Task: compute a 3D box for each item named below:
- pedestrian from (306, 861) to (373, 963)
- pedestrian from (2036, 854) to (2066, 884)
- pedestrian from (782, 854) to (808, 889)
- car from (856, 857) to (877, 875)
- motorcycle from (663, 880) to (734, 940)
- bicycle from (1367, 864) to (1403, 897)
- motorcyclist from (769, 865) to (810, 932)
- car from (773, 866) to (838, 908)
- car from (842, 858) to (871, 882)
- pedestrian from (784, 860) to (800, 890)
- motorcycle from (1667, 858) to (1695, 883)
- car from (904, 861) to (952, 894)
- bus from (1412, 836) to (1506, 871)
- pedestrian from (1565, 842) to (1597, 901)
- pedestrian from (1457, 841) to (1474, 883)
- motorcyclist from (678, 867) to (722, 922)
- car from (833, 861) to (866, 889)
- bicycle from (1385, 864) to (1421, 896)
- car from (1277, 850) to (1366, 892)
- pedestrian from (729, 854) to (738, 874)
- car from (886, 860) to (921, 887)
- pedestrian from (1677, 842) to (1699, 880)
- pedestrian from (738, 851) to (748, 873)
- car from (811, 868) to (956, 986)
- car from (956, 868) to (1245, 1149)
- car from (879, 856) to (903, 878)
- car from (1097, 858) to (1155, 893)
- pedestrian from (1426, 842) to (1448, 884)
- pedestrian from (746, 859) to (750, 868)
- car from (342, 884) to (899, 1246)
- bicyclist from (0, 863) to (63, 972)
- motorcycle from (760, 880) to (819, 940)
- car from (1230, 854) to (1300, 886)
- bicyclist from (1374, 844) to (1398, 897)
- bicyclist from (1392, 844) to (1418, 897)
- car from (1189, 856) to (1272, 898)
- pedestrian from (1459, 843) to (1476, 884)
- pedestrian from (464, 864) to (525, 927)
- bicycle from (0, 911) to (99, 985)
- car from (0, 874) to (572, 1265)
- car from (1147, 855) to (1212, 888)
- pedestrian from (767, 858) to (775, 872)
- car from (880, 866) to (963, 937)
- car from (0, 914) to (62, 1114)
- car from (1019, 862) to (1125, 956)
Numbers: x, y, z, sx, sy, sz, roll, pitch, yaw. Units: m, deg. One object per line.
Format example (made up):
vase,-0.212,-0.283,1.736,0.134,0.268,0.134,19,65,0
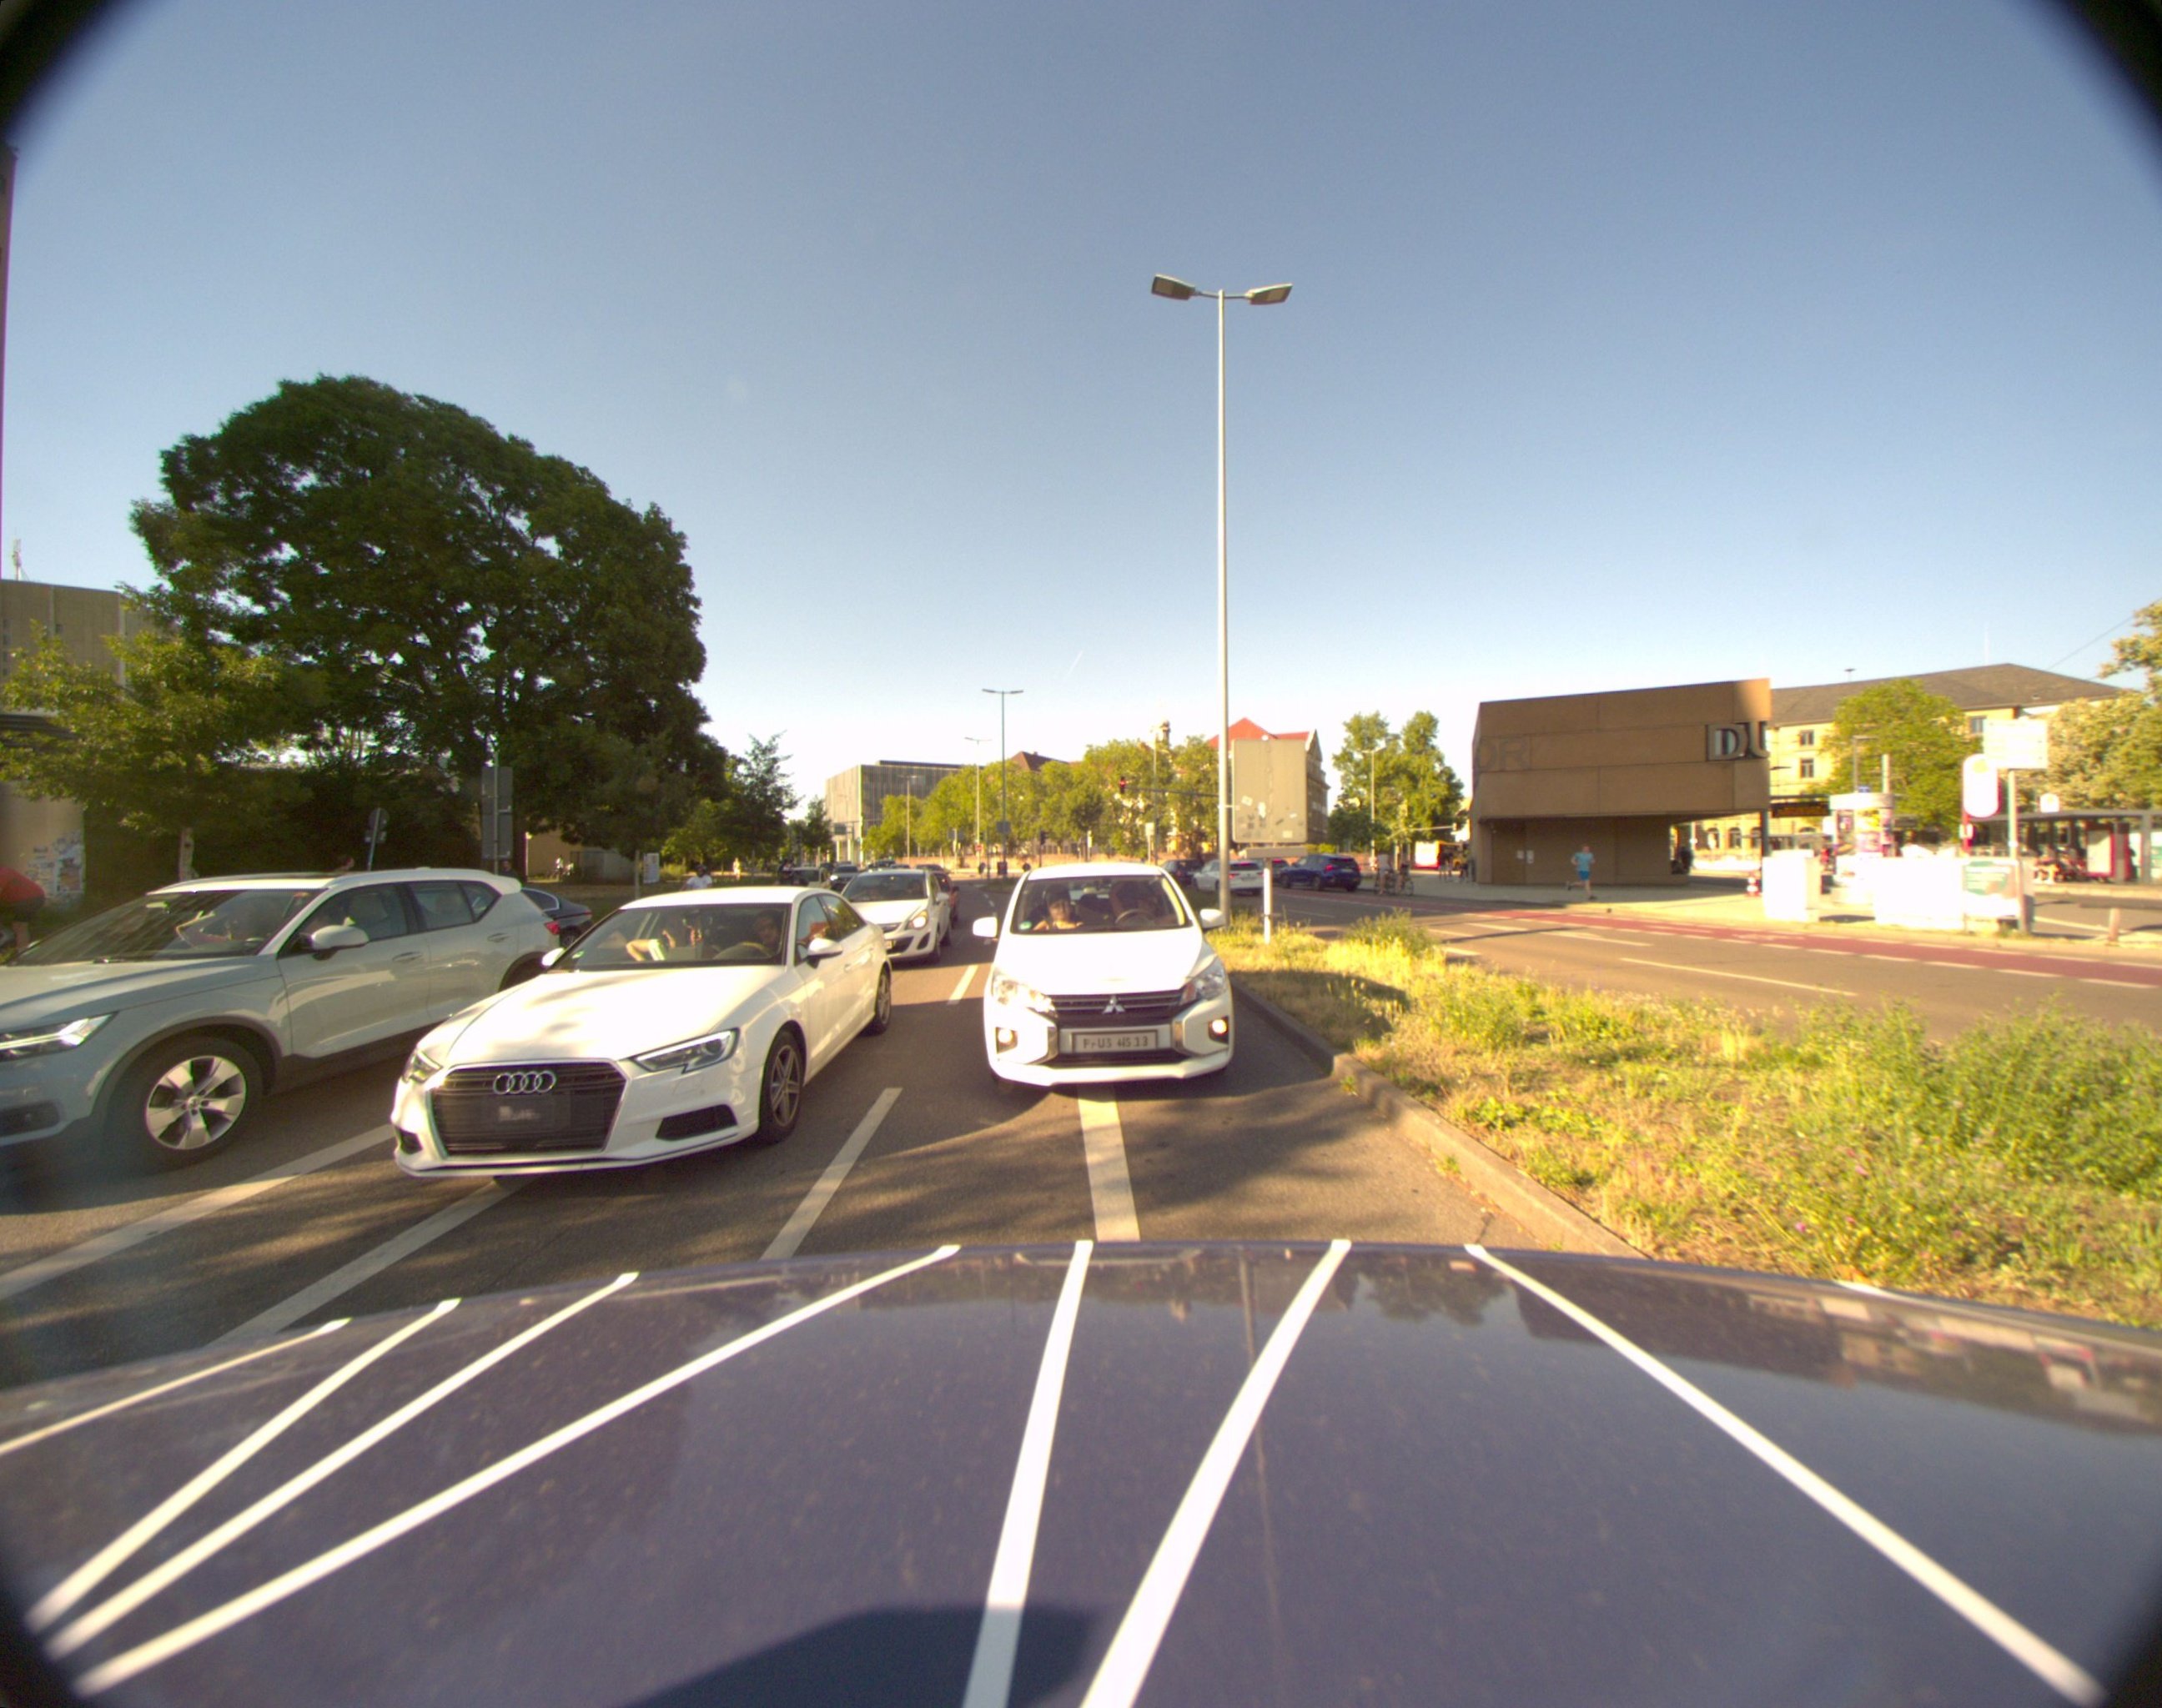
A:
pedestrian,-14.054,1.078,14.412,0.464,1.875,0.696,-2,1,18
pedestrian,39.021,0.612,30.567,0.539,1.180,0.659,-2,1,29
pedestrian,-17.020,1.018,45.187,1.143,2.002,1.285,-2,1,-10
car,-21.457,1.172,75.947,1.748,1.696,3.993,-1,0,-20
motorcycle,-9.609,1.380,19.189,0.718,1.297,2.234,-2,1,-4
bicycle,11.734,1.012,29.355,0.464,1.185,1.395,-3,1,-17
motorcyclist,-7.294,1.100,19.029,0.711,1.581,0.690,-2,1,-4
car,-11.021,1.262,30.675,1.746,1.516,3.996,-1,0,-9
car,-17.245,1.205,58.524,1.880,1.805,3.995,-1,0,-14
pedestrian,-15.472,1.120,40.653,0.596,1.585,0.594,-2,1,-8
motorcycle,26.247,0.713,33.232,0.948,1.061,0.331,-1,1,39
car,-7.681,1.129,37.941,1.748,1.536,3.993,-1,0,-20
bus,40.411,-0.156,81.029,12.565,3.193,3.079,-3,1,-34
pedestrian,16.474,0.572,25.035,0.797,1.886,0.612,0,1,40
pedestrian,18.693,0.401,36.949,0.655,2.002,0.469,-2,1,20
motorcyclist,-9.626,1.012,19.235,0.718,1.297,0.735,-2,1,-4
car,-13.962,1.232,45.741,1.748,1.536,3.993,-1,0,-19
bicycle,12.487,0.982,29.464,0.464,1.185,1.395,-3,1,-17
car,10.398,0.697,33.201,1.757,1.680,4.183,-1,0,-14
pedestrian,-26.221,0.745,57.335,0.548,1.521,0.603,-3,1,-19
car,-12.075,1.290,51.648,1.748,1.696,3.993,-1,0,-21
pedestrian,32.493,0.378,40.697,0.780,2.002,0.771,-3,2,-42
pedestrian,-25.593,0.591,57.523,0.548,1.597,0.603,-3,1,-19
car,-3.067,1.048,12.574,1.628,1.451,4.039,-2,1,-5
car,0.064,0.932,6.428,1.628,1.451,4.040,-2,1,-2
car,-16.243,1.120,64.966,1.880,1.805,3.995,-1,0,-14
car,2.067,0.989,36.008,1.757,1.451,4.185,-2,1,-10
pedestrian,17.568,0.439,37.476,0.777,2.002,0.773,-2,1,13
pedestrian,-59.882,1.713,136.535,0.409,1.476,0.486,-1,1,1
car,-2.547,1.036,5.385,1.628,1.396,3.832,-2,1,-2
bicyclist,-15.888,0.935,11.156,0.617,1.551,0.871,-2,1,-6
motorcycle,-7.272,1.368,19.076,0.718,1.297,2.234,-2,1,-4
car,9.359,0.787,39.013,1.850,1.483,4.388,1,0,-10
bicyclist,11.754,0.625,29.300,0.611,2.002,0.565,-1,1,-15
bicyclist,12.508,0.632,29.307,0.611,2.002,0.708,-1,1,-15
car,6.028,0.895,31.254,1.850,1.483,4.388,-2,1,-10
pedestrian,19.207,0.450,37.741,0.655,2.002,0.469,-2,1,20
pedestrian,-16.750,1.165,21.720,1.010,1.711,0.884,-2,1,-10
bicycle,-15.861,1.398,11.052,0.660,0.958,2.033,0,1,-7
car,-5.743,1.052,5.253,1.628,1.611,4.223,-2,1,-2
car,4.771,0.831,37.433,1.757,1.451,4.184,-2,1,-13
pedestrian,-46.696,1.666,114.452,0.840,2.002,1.065,-3,1,-30
car,-3.889,1.096,19.092,1.628,1.451,4.039,-2,1,-7
car,-8.752,1.240,3.878,1.628,1.451,4.040,-2,1,-2
car,-0.221,0.956,15.071,1.755,1.451,4.187,-2,1,-2
